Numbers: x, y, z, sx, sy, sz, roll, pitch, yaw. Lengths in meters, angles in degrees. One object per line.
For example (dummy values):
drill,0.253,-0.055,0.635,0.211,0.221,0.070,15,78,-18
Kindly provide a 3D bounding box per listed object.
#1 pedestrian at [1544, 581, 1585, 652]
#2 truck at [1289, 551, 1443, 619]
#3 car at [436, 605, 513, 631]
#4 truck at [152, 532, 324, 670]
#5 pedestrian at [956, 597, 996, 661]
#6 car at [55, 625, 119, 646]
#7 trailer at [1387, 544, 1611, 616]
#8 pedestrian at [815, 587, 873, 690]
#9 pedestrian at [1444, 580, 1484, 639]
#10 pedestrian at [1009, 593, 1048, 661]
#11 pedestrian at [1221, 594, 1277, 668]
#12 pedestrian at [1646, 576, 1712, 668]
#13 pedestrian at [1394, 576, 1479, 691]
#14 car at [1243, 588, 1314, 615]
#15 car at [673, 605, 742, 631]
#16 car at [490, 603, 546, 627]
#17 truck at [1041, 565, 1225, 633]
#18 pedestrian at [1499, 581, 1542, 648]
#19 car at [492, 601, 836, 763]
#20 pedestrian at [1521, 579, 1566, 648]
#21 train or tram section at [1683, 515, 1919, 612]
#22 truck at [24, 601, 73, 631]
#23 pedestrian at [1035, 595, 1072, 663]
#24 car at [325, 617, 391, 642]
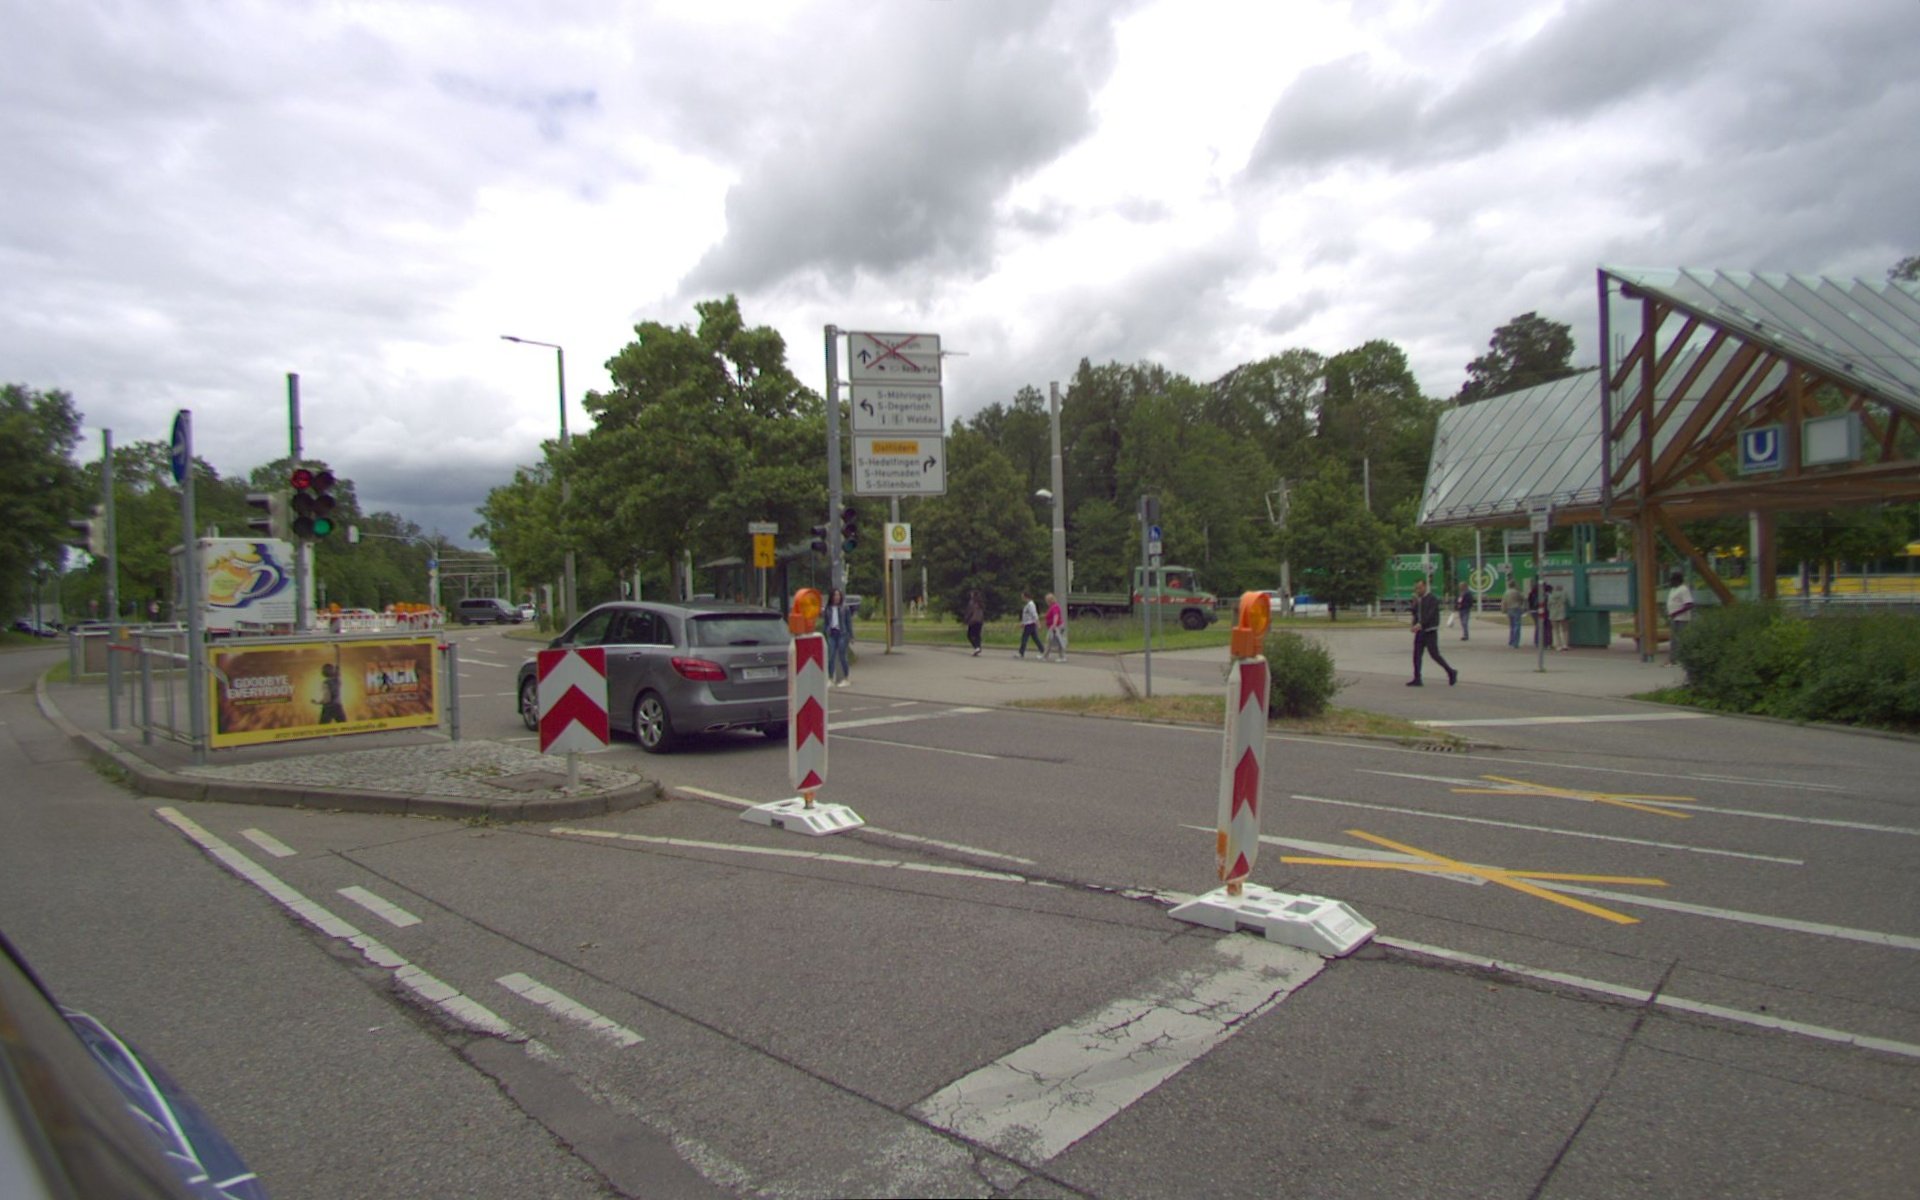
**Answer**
pedestrian,14.338,0.379,24.006,0.663,1.637,0.585,-3,0,-36
truck,26.211,-0.932,65.858,8.686,3.910,3.772,-2,0,14
car,-35.488,1.316,74.025,4.853,1.599,1.953,-2,0,9
truck,-19.337,0.073,26.966,6.208,3.263,2.599,-1,-2,44
pedestrian,0.401,0.710,25.338,0.764,1.557,0.629,-3,2,-40
car,-79.241,3.230,91.836,4.396,1.607,1.877,-2,0,6
trailer,33.702,-1.233,63.942,11.752,3.910,3.772,-2,0,14
pedestrian,-1.986,0.634,17.187,0.896,1.689,1.096,0,0,-10
pedestrian,14.532,0.267,29.184,0.770,1.637,0.774,-2,0,45
pedestrian,1.746,0.674,25.698,0.861,1.678,0.683,-2,0,9
pedestrian,6.215,0.658,21.751,0.875,1.536,0.758,-2,0,39
pedestrian,13.036,0.388,18.365,0.663,1.608,0.676,-2,0,-1
pedestrian,7.911,0.540,16.844,0.981,1.822,0.766,-2,0,1
car,19.692,0.102,62.645,3.957,1.499,1.763,-2,0,11
car,-19.661,1.391,78.964,4.782,1.829,1.993,-2,0,11
car,-36.114,1.231,82.673,3.753,1.735,1.852,-2,0,12
truck,6.384,-0.029,37.285,6.255,2.186,2.590,-2,0,20
pedestrian,13.994,0.355,25.272,0.663,1.637,0.585,-2,0,-11
car,-3.525,0.781,11.624,4.306,1.520,1.789,0,-1,42
pedestrian,14.303,0.328,24.817,0.663,1.637,0.585,-2,0,-11
train or tram section,49.364,-2.068,53.557,18.457,4.568,3.579,-2,0,7
truck,-105.993,1.878,117.741,2.701,3.235,6.694,-3,1,-29
pedestrian,2.235,0.678,24.263,0.765,1.563,0.791,-2,0,2
car,-45.442,2.228,76.398,3.939,1.652,1.892,-2,0,10
